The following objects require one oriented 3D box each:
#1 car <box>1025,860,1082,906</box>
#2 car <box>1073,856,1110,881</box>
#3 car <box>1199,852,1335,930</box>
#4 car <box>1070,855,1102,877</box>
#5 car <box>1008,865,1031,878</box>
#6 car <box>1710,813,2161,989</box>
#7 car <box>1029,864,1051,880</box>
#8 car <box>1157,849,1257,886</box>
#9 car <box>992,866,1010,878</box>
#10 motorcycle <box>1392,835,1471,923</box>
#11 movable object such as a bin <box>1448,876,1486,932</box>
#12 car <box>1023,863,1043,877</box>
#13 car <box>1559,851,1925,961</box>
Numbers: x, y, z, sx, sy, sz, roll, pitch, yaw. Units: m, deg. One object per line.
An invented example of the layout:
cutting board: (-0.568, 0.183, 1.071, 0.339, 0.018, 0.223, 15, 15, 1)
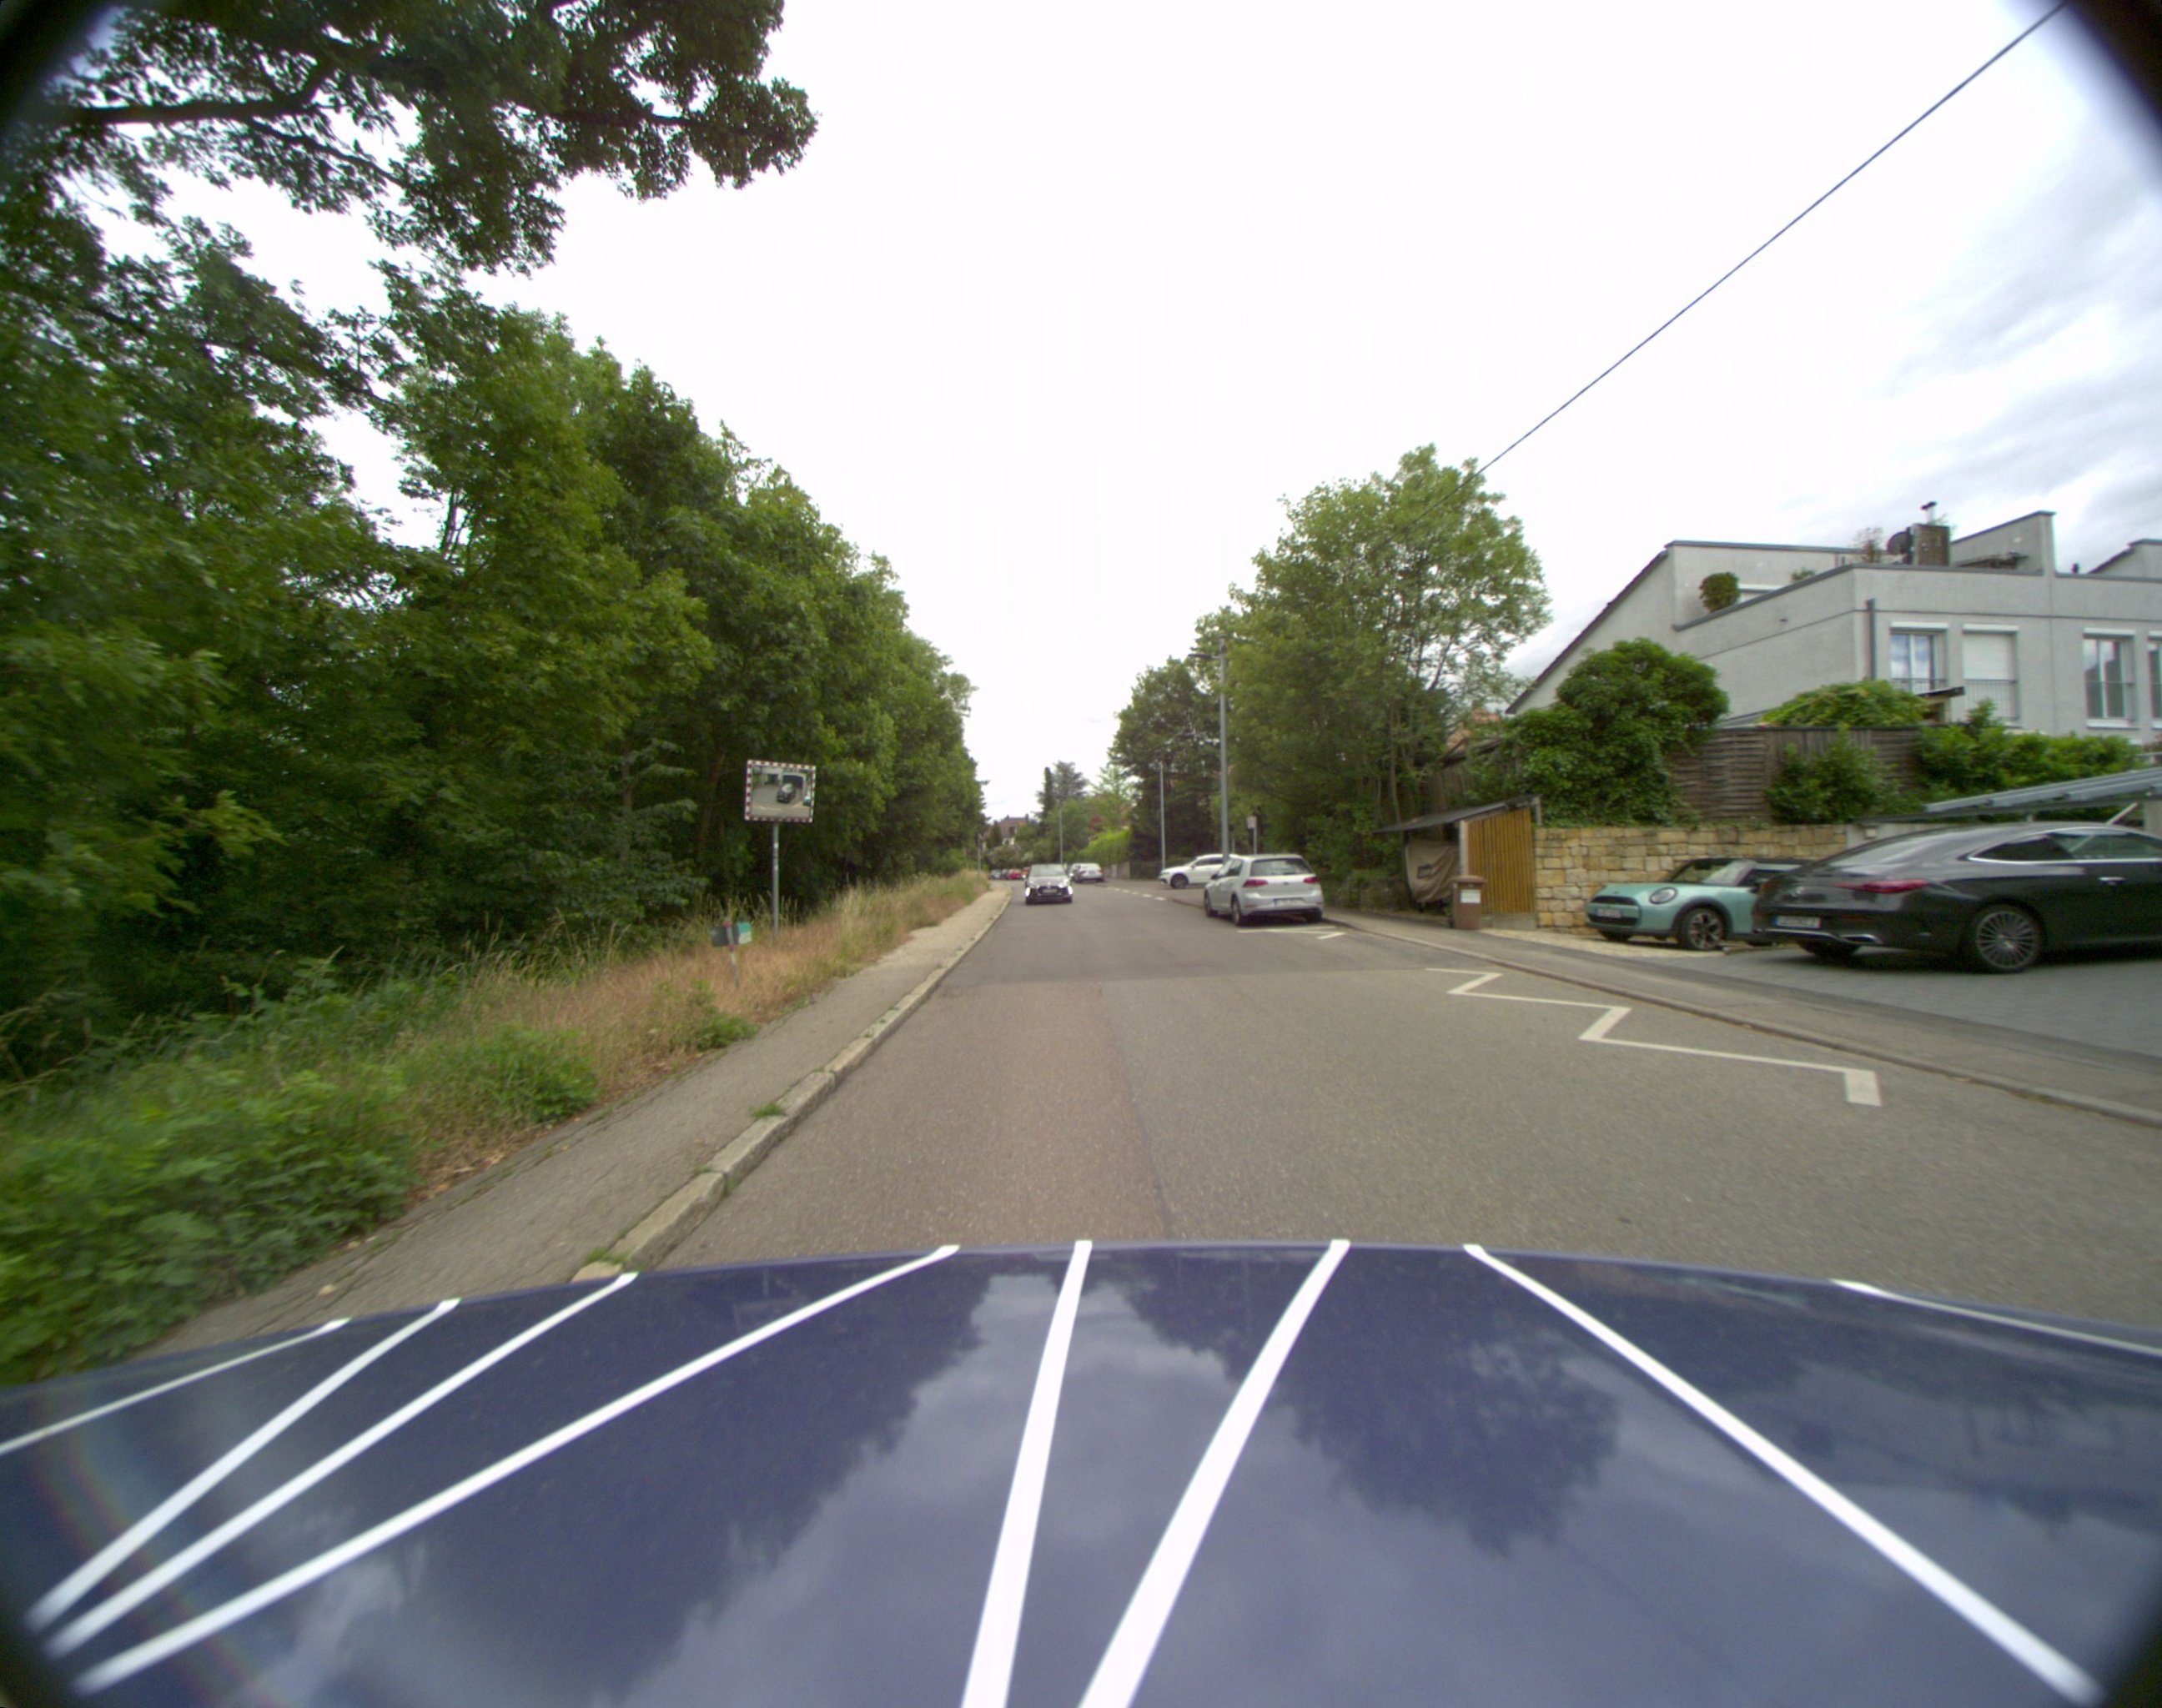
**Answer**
car: (-0.977, 1.052, 28.781, 1.788, 1.491, 4.015, -3, 0, 2)
car: (0.718, 1.032, 55.409, 2.000, 1.678, 4.707, -2, 0, -7)
car: (3.940, 0.719, 16.789, 1.765, 1.441, 4.042, -2, 0, -3)
car: (0.335, 0.990, 62.882, 2.000, 1.678, 4.707, -2, 0, -7)
car: (-8.191, 2.283, 100.934, 2.001, 1.678, 4.704, -2, 0, -16)
car: (9.691, 0.399, 7.882, 4.616, 1.378, 1.891, -4, -1, 2)
car: (-4.824, 2.060, 88.666, 1.801, 1.678, 3.496, -2, 0, -15)
car: (6.312, 0.669, 38.480, 4.707, 1.678, 2.000, -2, 0, -1)
car: (-11.649, 2.581, 110.376, 2.001, 1.678, 4.705, -2, 0, -14)
motorcycle: (6.725, 0.456, 14.669, 0.484, 1.573, 1.913, -2, 0, -4)
movable object such as a bin: (6.572, 0.839, 12.940, 0.367, 0.919, 0.556, 2, 1, 4)
car: (-5.868, 1.915, 92.776, 1.801, 1.678, 3.496, -2, 0, -15)
car: (9.830, 0.745, 11.534, 3.964, 1.378, 1.823, 3, -1, -2)
